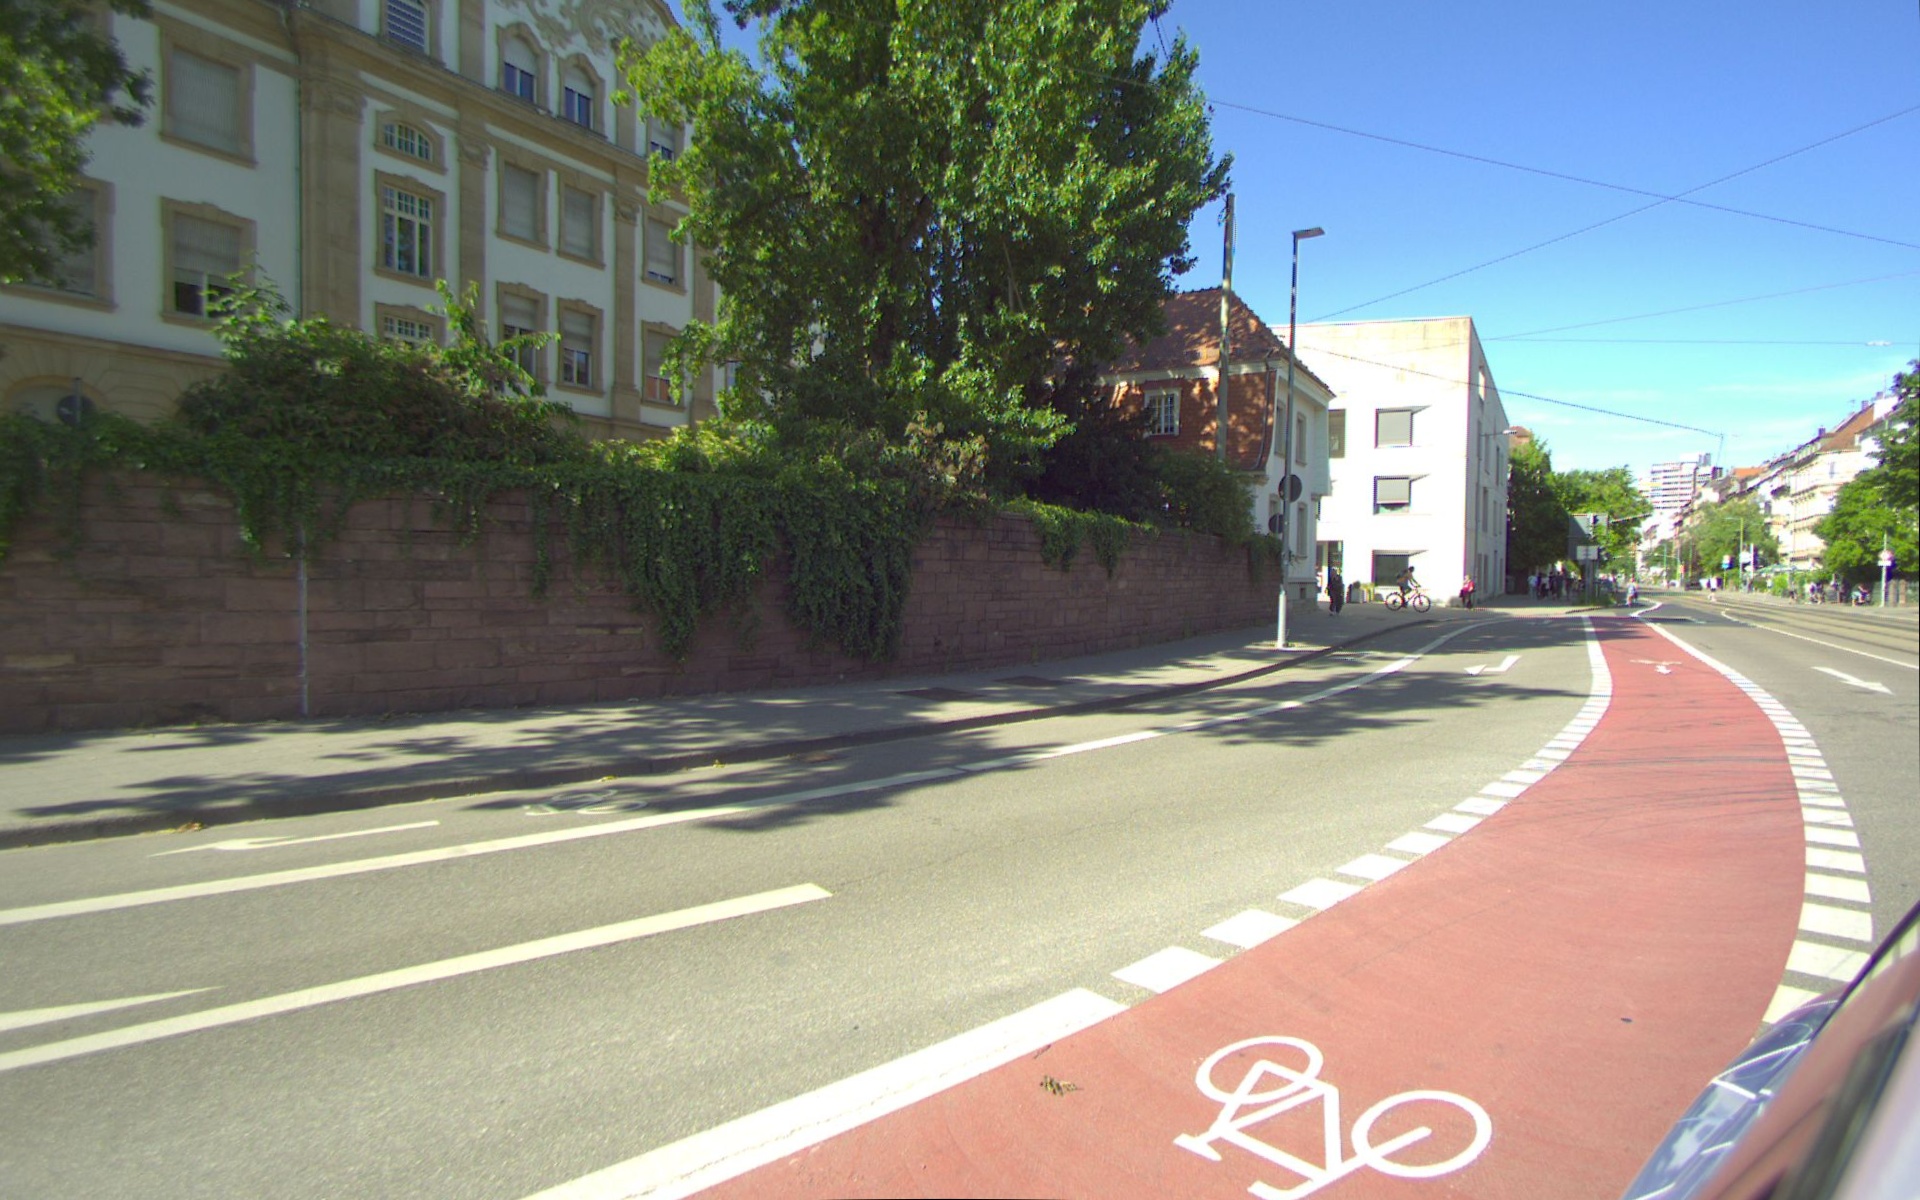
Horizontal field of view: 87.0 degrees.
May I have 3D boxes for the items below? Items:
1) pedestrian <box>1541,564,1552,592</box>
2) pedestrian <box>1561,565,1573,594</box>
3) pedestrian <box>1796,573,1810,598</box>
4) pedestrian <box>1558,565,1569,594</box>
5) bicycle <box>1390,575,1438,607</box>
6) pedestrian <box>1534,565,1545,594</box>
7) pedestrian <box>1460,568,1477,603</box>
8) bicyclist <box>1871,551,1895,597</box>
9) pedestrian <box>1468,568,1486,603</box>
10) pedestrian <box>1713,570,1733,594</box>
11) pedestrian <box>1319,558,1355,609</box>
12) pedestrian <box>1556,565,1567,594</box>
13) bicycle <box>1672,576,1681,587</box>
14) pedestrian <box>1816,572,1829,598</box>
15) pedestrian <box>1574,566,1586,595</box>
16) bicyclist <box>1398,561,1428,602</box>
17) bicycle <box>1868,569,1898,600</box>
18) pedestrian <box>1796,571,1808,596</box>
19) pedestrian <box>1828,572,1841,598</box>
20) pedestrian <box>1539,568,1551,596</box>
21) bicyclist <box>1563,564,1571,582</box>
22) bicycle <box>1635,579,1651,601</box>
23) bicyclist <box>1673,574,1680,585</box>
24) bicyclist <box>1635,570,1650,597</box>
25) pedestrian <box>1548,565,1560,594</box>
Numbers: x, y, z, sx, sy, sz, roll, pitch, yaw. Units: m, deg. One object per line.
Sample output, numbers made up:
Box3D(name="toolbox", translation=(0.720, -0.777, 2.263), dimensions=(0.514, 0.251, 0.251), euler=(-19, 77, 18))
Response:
Box3D(name="pedestrian", translation=(37.804, -1.411, 65.260), dimensions=(0.583, 1.828, 0.576), euler=(1, 2, 32))
Box3D(name="pedestrian", translation=(37.869, -1.272, 63.147), dimensions=(0.583, 1.828, 0.514), euler=(1, 2, 32))
Box3D(name="pedestrian", translation=(64.002, -1.083, 76.852), dimensions=(0.724, 1.879, 0.646), euler=(2, 2, 35))
Box3D(name="pedestrian", translation=(38.667, -1.308, 64.815), dimensions=(0.583, 1.828, 0.576), euler=(1, 2, 32))
Box3D(name="bicycle", translation=(18.655, -0.392, 41.623), dimensions=(1.576, 1.165, 0.742), euler=(5, 3, 15))
Box3D(name="pedestrian", translation=(36.776, -1.302, 64.197), dimensions=(0.583, 1.828, 0.539), euler=(1, 2, 32))
Box3D(name="pedestrian", translation=(23.732, -0.682, 47.242), dimensions=(0.510, 1.586, 0.535), euler=(1, 1, 0))
Box3D(name="bicyclist", translation=(61.797, -1.747, 67.750), dimensions=(1.449, 3.012, 1.003), euler=(-2, 2, -41))
Box3D(name="pedestrian", translation=(23.810, -0.662, 46.593), dimensions=(0.510, 1.586, 0.535), euler=(1, 1, 0))
Box3D(name="pedestrian", translation=(56.107, -1.319, 74.412), dimensions=(0.918, 1.759, 0.676), euler=(1, 1, 14))
Box3D(name="pedestrian", translation=(13.075, -0.582, 35.066), dimensions=(0.933, 1.698, 0.944), euler=(4, 4, 31))
Box3D(name="pedestrian", translation=(39.225, -1.337, 66.028), dimensions=(0.583, 1.828, 0.539), euler=(1, 2, 32))
Box3D(name="bicycle", translation=(117.239, -3.003, 165.576), dimensions=(0.996, 1.702, 2.951), euler=(0, 2, 33))
Box3D(name="pedestrian", translation=(63.332, -1.126, 74.303), dimensions=(0.575, 1.879, 0.676), euler=(2, 2, 33))
Box3D(name="pedestrian", translation=(38.576, -1.221, 62.988), dimensions=(0.583, 1.749, 0.514), euler=(1, 2, 32))
Box3D(name="bicyclist", translation=(18.619, -0.778, 41.619), dimensions=(0.867, 1.602, 0.742), euler=(4, 3, 14))
Box3D(name="bicycle", translation=(61.853, -1.062, 67.804), dimensions=(3.827, 1.910, 1.003), euler=(-3, 2, -41))
Box3D(name="pedestrian", translation=(63.881, -1.221, 76.791), dimensions=(0.575, 1.879, 0.676), euler=(2, 2, 33))
Box3D(name="pedestrian", translation=(63.903, -1.124, 73.964), dimensions=(0.575, 1.879, 0.676), euler=(2, 2, 33))
Box3D(name="pedestrian", translation=(38.452, -1.197, 66.522), dimensions=(0.583, 1.828, 0.539), euler=(1, 2, 32))
Box3D(name="bicyclist", translation=(76.267, -3.387, 127.207), dimensions=(0.808, 2.234, 0.972), euler=(0, 2, 35))
Box3D(name="bicycle", translation=(38.479, -0.585, 57.023), dimensions=(0.661, 1.166, 1.651), euler=(0, 2, 36))
Box3D(name="bicyclist", translation=(117.229, -3.306, 165.567), dimensions=(0.996, 1.743, 0.973), euler=(0, 2, 33))
Box3D(name="bicyclist", translation=(38.461, -0.922, 57.003), dimensions=(0.662, 1.479, 0.614), euler=(0, 2, 37))
Box3D(name="pedestrian", translation=(37.292, -1.290, 63.549), dimensions=(0.583, 1.828, 0.539), euler=(1, 2, 32))
